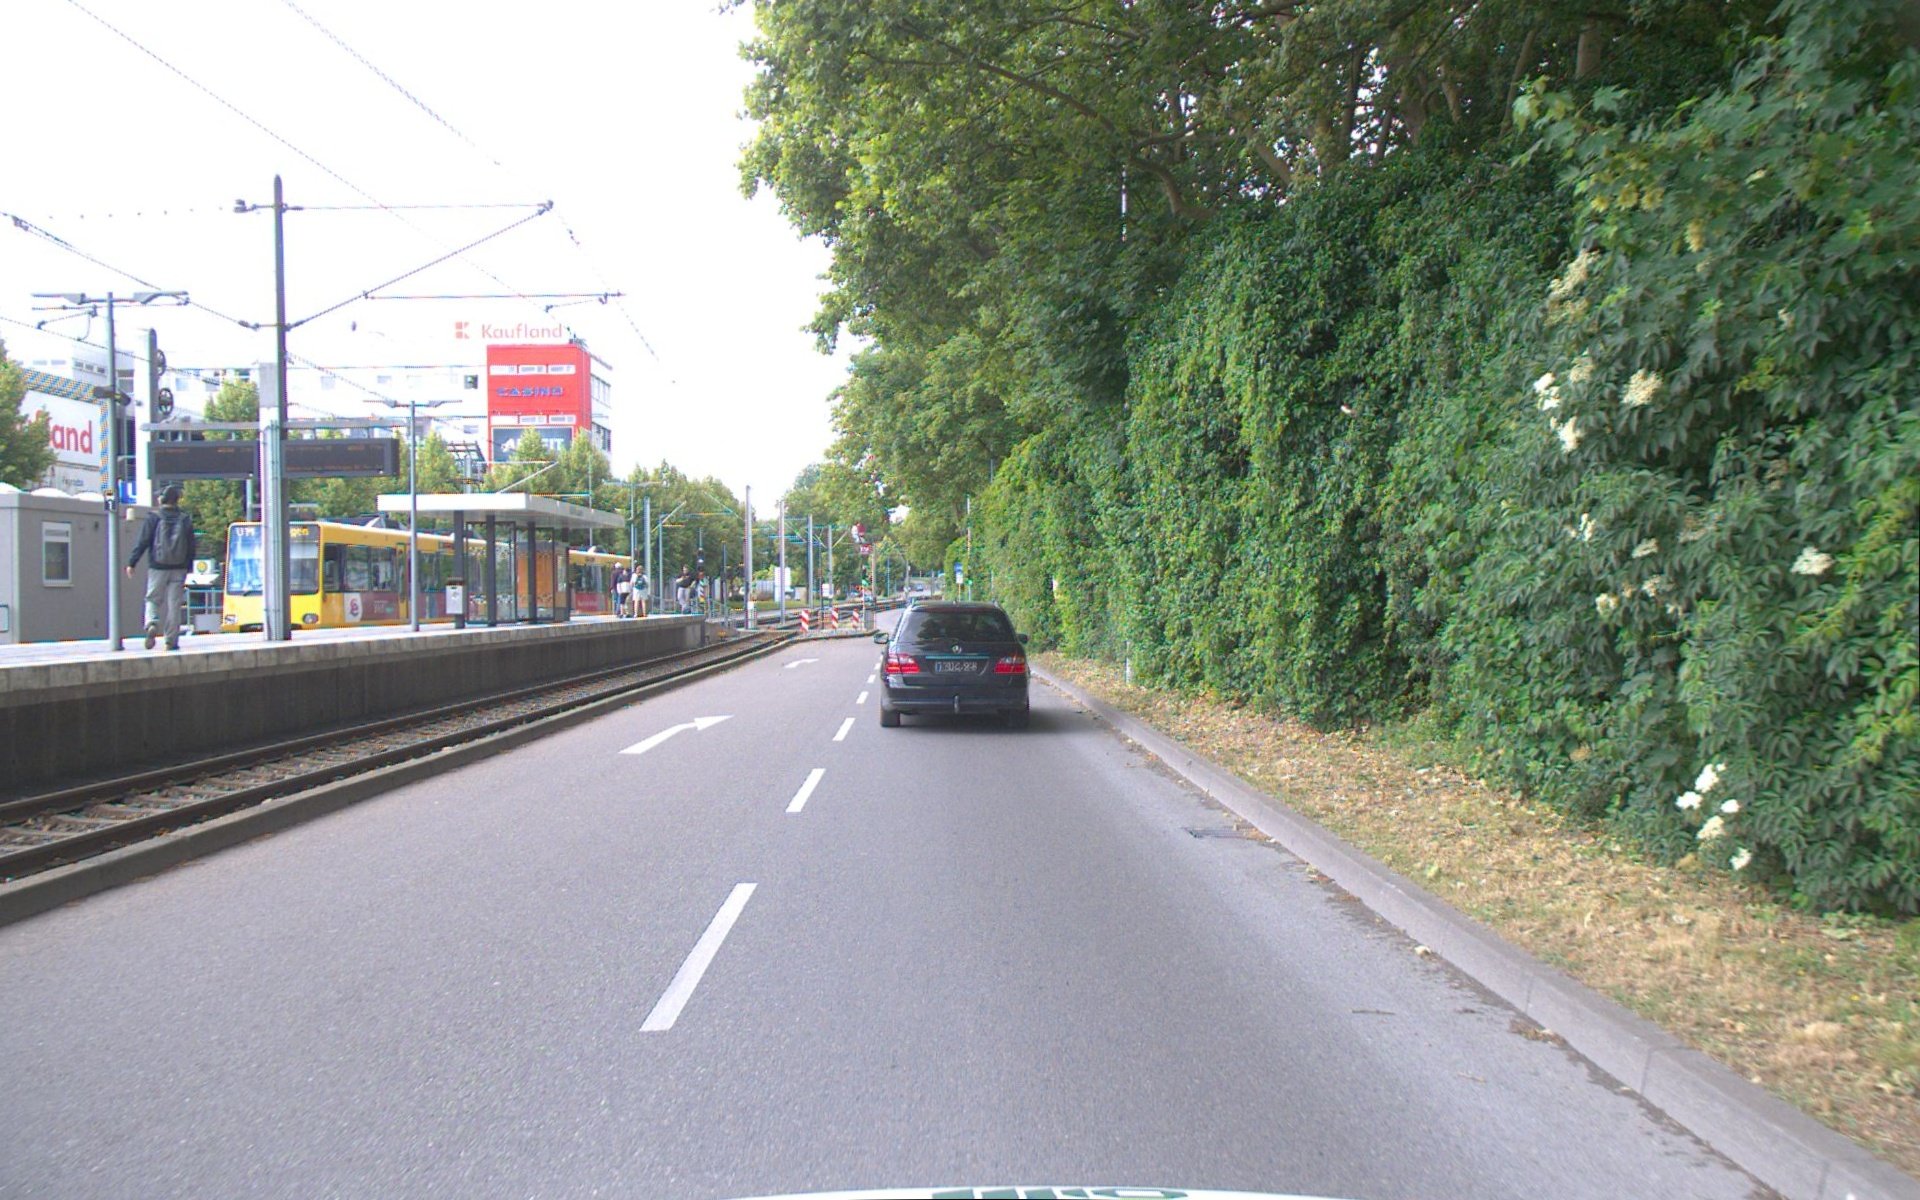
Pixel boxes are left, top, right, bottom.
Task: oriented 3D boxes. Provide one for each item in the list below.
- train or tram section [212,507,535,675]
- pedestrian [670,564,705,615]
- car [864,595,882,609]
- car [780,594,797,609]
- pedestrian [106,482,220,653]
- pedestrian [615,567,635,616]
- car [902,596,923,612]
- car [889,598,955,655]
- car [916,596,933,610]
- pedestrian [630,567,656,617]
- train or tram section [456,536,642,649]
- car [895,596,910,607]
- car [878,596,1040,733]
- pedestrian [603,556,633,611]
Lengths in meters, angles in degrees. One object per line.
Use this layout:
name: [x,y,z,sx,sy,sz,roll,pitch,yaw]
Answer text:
train or tram section: [-16.506,-0.254,49.144,2.700,3.950,18.632,-2,0,1]
pedestrian: [-9.337,-0.358,56.584,0.732,1.707,0.871,-2,0,42]
car: [-9.631,0.215,183.678,1.788,1.556,3.928,0,0,0]
car: [-24.715,0.237,238.600,1.953,2.049,3.999,-2,0,-2]
pedestrian: [-8.631,-0.344,17.939,0.733,1.774,0.936,-2,0,-1]
pedestrian: [-10.345,-0.259,51.056,0.469,1.509,0.539,-2,0,-22]
car: [-4.600,0.361,160.569,1.788,1.556,4.416,-1,0,0]
car: [-1.108,0.726,47.705,1.788,1.556,4.414,0,0,-2]
car: [-3.882,0.308,183.420,1.788,1.556,3.928,0,0,0]
pedestrian: [-9.609,-0.246,50.147,0.510,1.508,0.579,-1,0,37]
train or tram section: [-16.318,-0.362,67.760,2.700,3.895,18.633,-2,1,0]
car: [-7.908,0.183,228.002,1.788,1.556,3.986,0,0,0]
car: [-0.031,0.711,20.645,1.796,1.504,4.415,0,0,-1]
pedestrian: [-10.895,-0.518,52.744,0.755,1.707,0.790,-2,0,-2]
